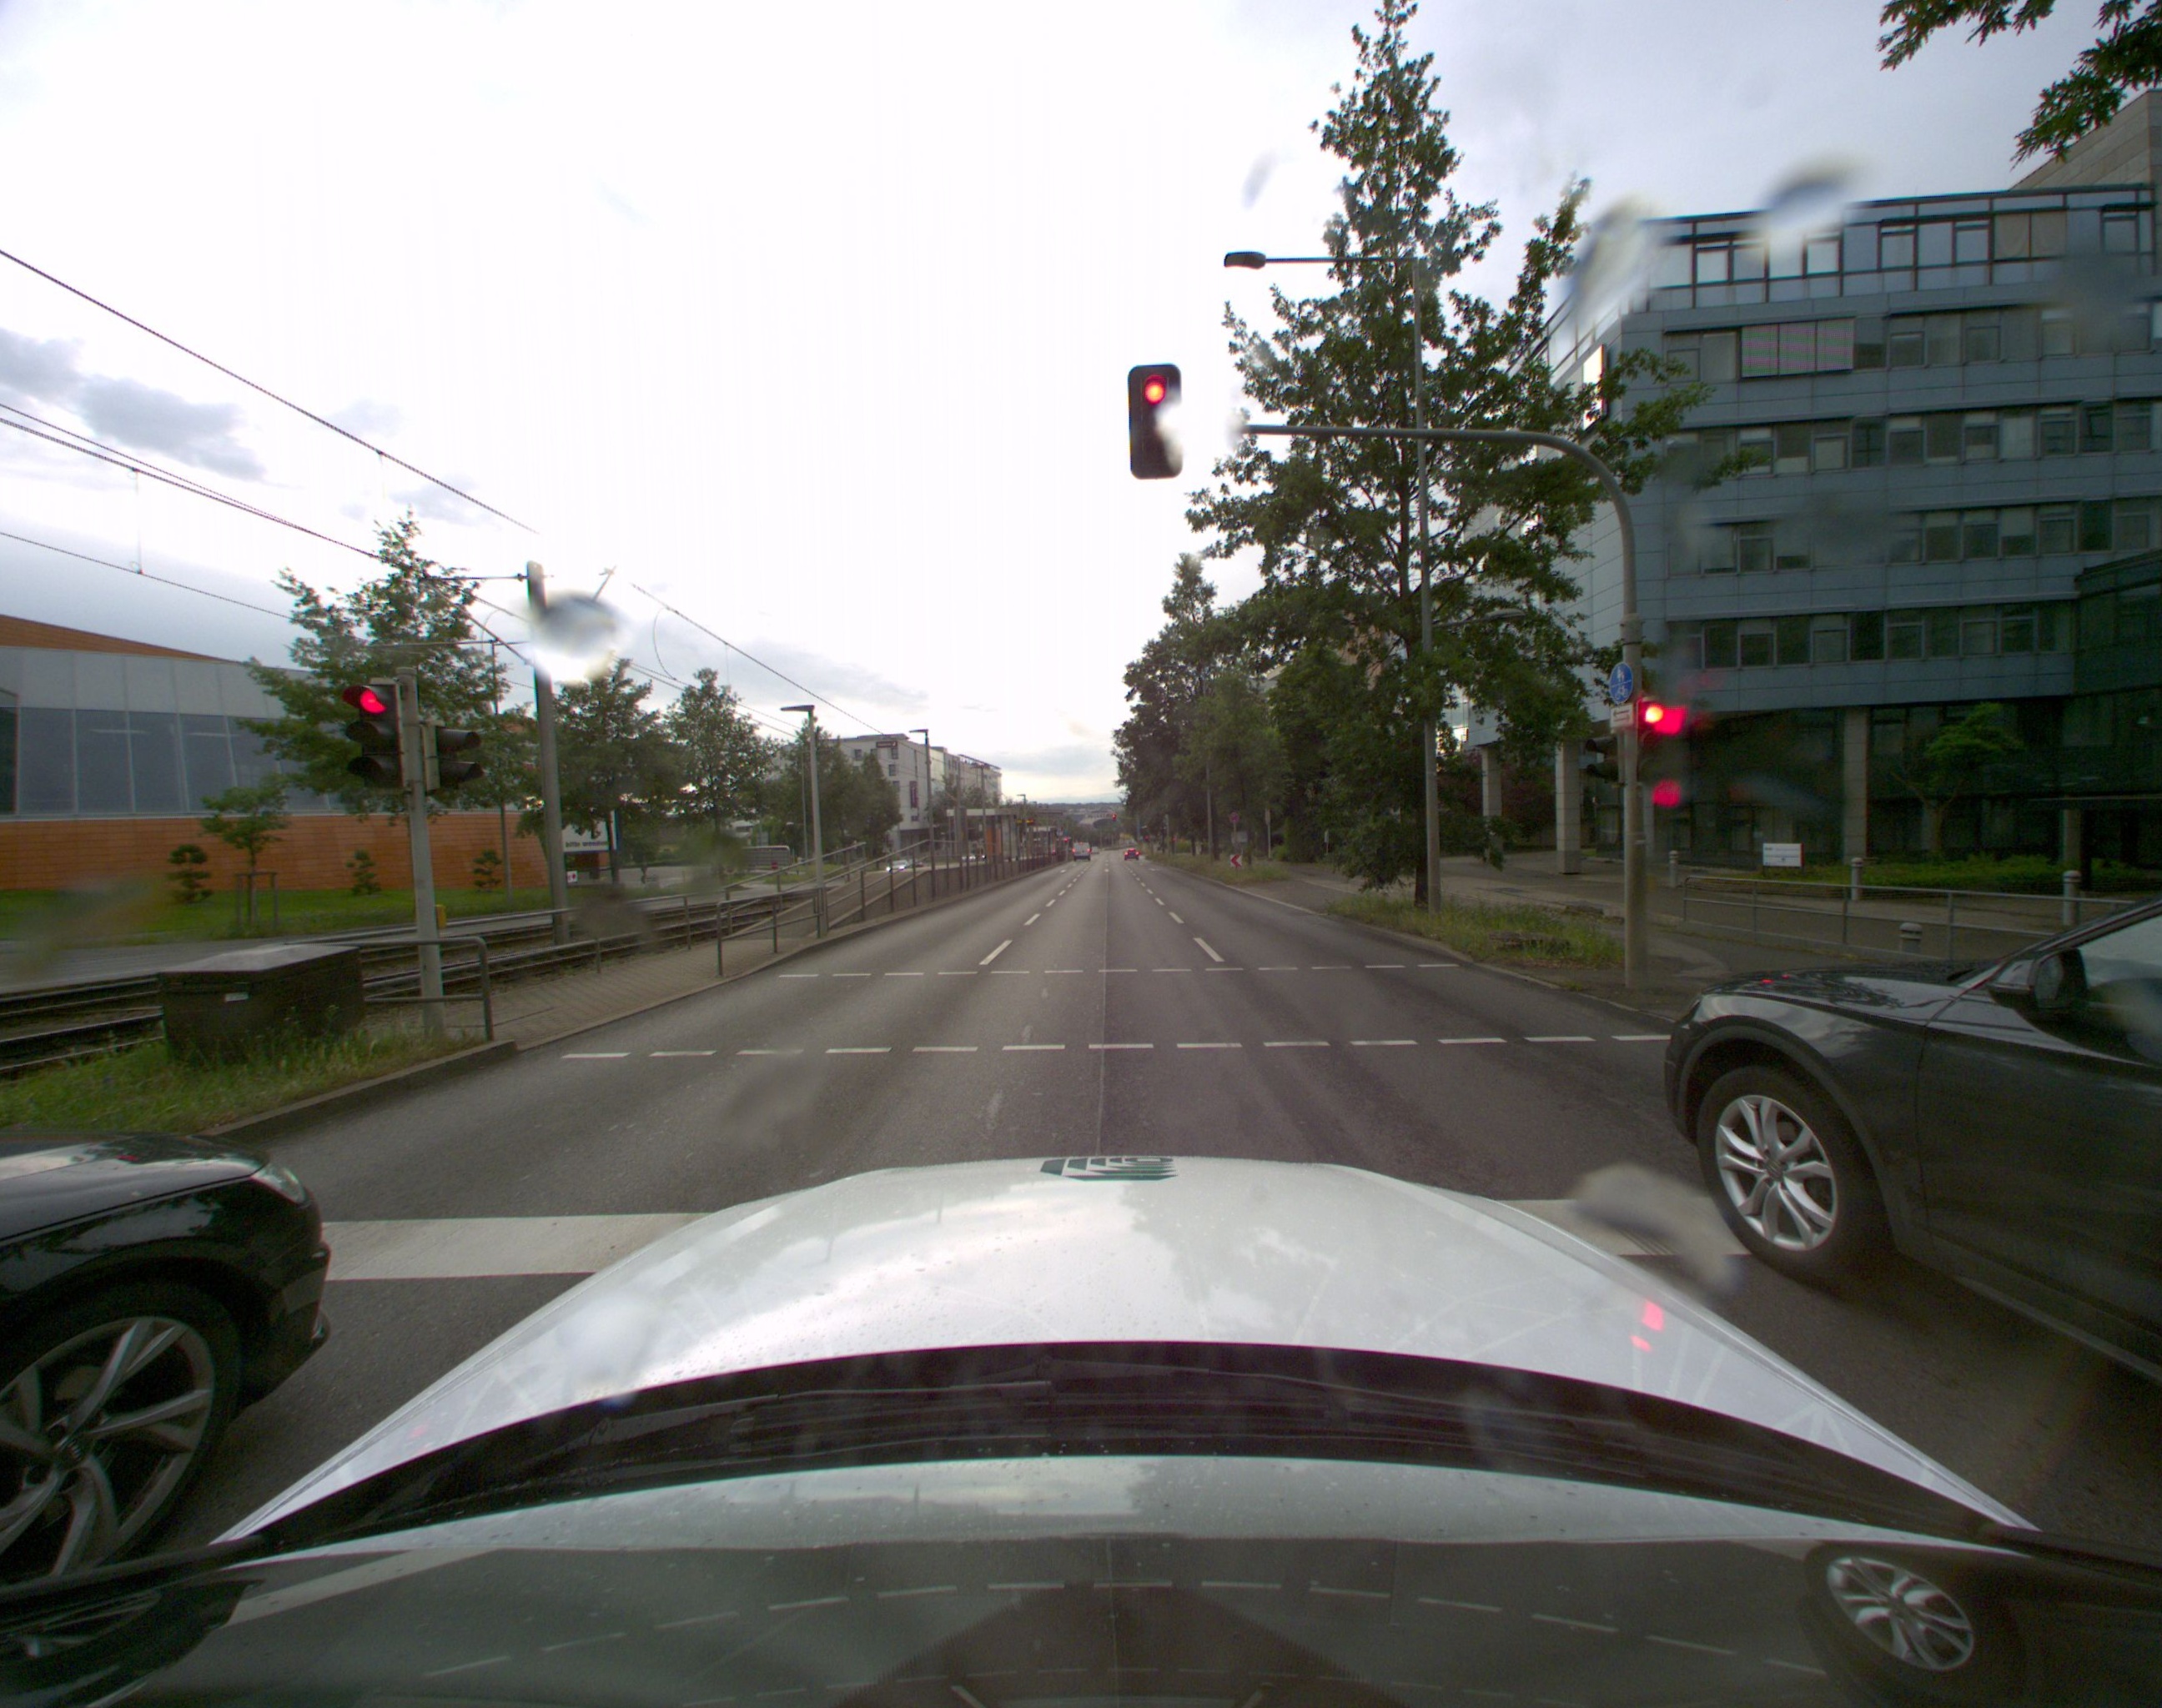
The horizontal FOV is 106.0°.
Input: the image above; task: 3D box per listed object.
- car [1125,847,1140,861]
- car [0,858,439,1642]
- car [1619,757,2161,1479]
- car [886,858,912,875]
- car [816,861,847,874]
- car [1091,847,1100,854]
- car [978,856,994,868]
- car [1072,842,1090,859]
[{"bbox_3d":[6.488,-0.036,102.837,1.767,1.691,3.847,-1,0,2],"label":"car"},{"bbox_3d":[-2.970,0.774,0.294,1.774,1.466,4.515,-1,0,2],"label":"car"},{"bbox_3d":[3.297,0.574,1.445,1.811,1.612,4.472,-1,0,2],"label":"car"},{"bbox_3d":[-17.607,1.167,78.958,1.646,1.436,3.877,-4,0,-2],"label":"car"},{"bbox_3d":[-29.666,1.594,96.826,3.341,1.387,1.440,-1,0,18],"label":"car"},{"bbox_3d":[3.004,-0.755,169.817,1.776,1.390,4.002,-2,0,2],"label":"car"},{"bbox_3d":[-12.612,1.009,108.079,1.651,1.436,3.865,-4,0,-11],"label":"car"},{"bbox_3d":[-0.023,-0.453,102.664,2.085,2.053,4.608,-1,0,2],"label":"car"}]
